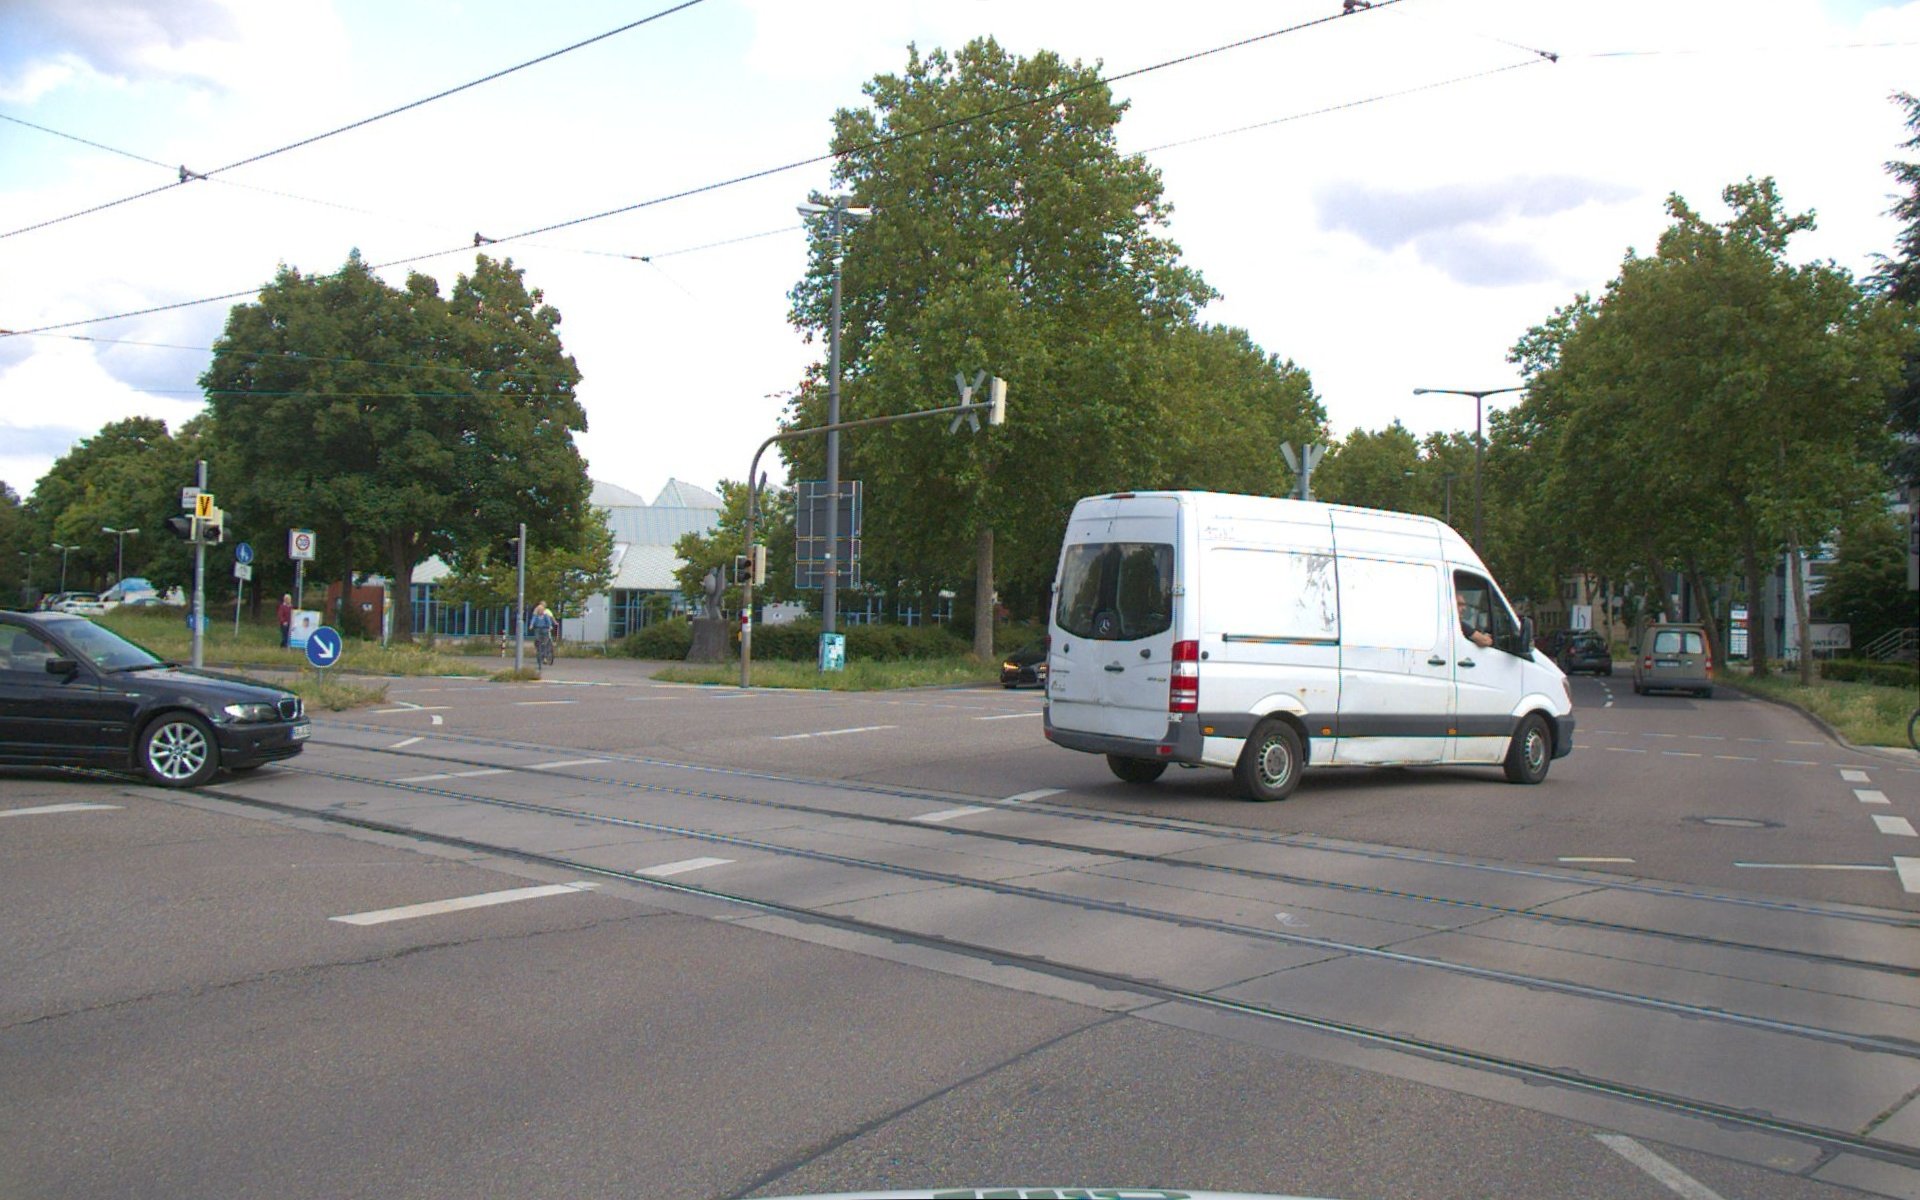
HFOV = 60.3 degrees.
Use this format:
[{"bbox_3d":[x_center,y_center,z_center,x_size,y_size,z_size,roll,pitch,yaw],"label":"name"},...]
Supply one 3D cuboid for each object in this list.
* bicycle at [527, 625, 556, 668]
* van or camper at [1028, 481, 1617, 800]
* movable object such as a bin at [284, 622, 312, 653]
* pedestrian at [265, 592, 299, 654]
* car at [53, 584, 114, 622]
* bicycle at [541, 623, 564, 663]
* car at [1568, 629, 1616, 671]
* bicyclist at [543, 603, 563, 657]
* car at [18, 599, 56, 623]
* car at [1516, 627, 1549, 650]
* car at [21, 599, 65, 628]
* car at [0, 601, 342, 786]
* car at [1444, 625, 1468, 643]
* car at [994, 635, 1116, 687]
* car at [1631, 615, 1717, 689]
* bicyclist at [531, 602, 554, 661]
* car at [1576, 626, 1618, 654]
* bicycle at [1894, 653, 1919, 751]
[{"bbox_3d":[-11.451,1.275,45.312,0.550,1.150,1.377,3,-2,-7],"label":"bicycle"},{"bbox_3d":[3.636,0.399,15.854,5.964,2.569,1.959,2,-1,-34],"label":"van or camper"},{"bbox_3d":[-18.226,1.038,45.525,0.448,0.825,0.579,1,1,15],"label":"movable object such as a bin"},{"bbox_3d":[-18.700,0.628,45.648,0.622,1.673,0.613,1,1,15],"label":"pedestrian"},{"bbox_3d":[-39.824,0.120,75.080,1.976,1.668,4.338,2,-1,-34],"label":"car"},{"bbox_3d":[-12.116,1.280,49.147,0.552,1.150,1.373,2,-1,-17],"label":"bicycle"},{"bbox_3d":[25.923,2.054,67.913,1.694,1.659,4.053,0,-1,19],"label":"car"},{"bbox_3d":[-12.100,0.892,49.155,0.478,1.581,0.553,3,-1,-18],"label":"bicyclist"},{"bbox_3d":[-66.751,0.783,119.574,1.976,1.668,4.338,2,-1,-34],"label":"car"},{"bbox_3d":[44.135,2.958,127.527,1.951,1.601,4.004,1,1,12],"label":"car"},{"bbox_3d":[-56.454,0.808,101.743,1.976,1.668,4.338,2,-1,-34],"label":"car"},{"bbox_3d":[-7.777,0.751,14.040,4.366,1.456,1.810,1,-1,-4],"label":"car"},{"bbox_3d":[50.162,3.393,167.278,1.951,1.601,4.004,1,1,12],"label":"car"},{"bbox_3d":[2.468,1.535,42.241,1.604,1.212,3.700,1,-1,31],"label":"car"},{"bbox_3d":[18.951,1.348,44.039,1.839,1.831,4.370,1,-1,20],"label":"car"},{"bbox_3d":[-11.436,0.872,45.324,0.476,1.581,0.555,3,-3,-8],"label":"bicyclist"},{"bbox_3d":[41.253,2.583,107.156,1.951,1.601,4.004,1,1,12],"label":"car"},{"bbox_3d":[13.321,1.360,21.610,1.912,1.257,0.539,1,1,34],"label":"bicycle"}]
